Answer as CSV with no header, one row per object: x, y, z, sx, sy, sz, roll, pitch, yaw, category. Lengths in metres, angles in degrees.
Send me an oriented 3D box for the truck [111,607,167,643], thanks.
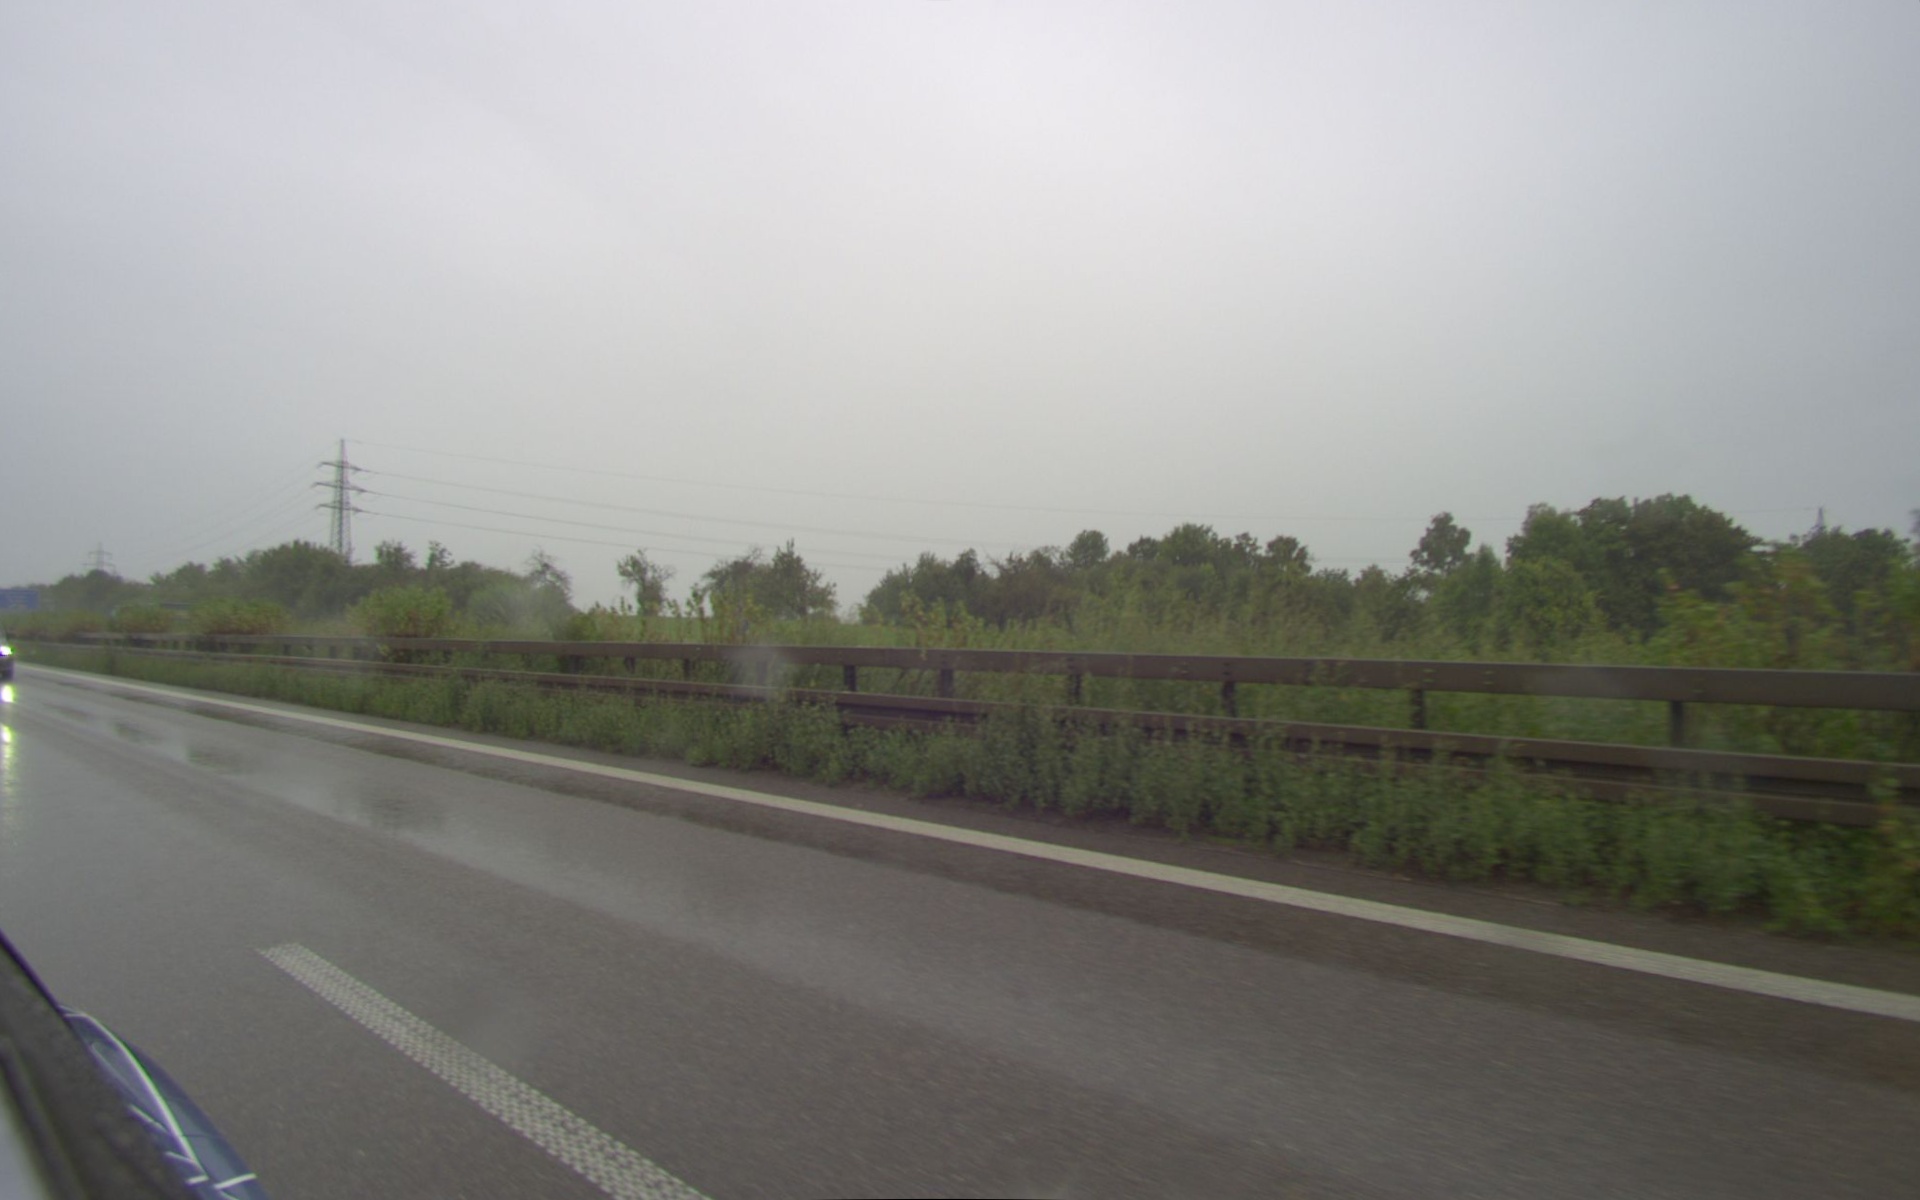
-74.137,2.231,91.297,10.612,3.059,2.216,-1,0,42,truck

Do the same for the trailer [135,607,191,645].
-67.029,2.156,85.064,8.261,3.088,2.223,-1,0,41,trailer

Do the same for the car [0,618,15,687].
-26.996,1.384,27.102,4.498,1.787,2.020,-1,-1,41,car
